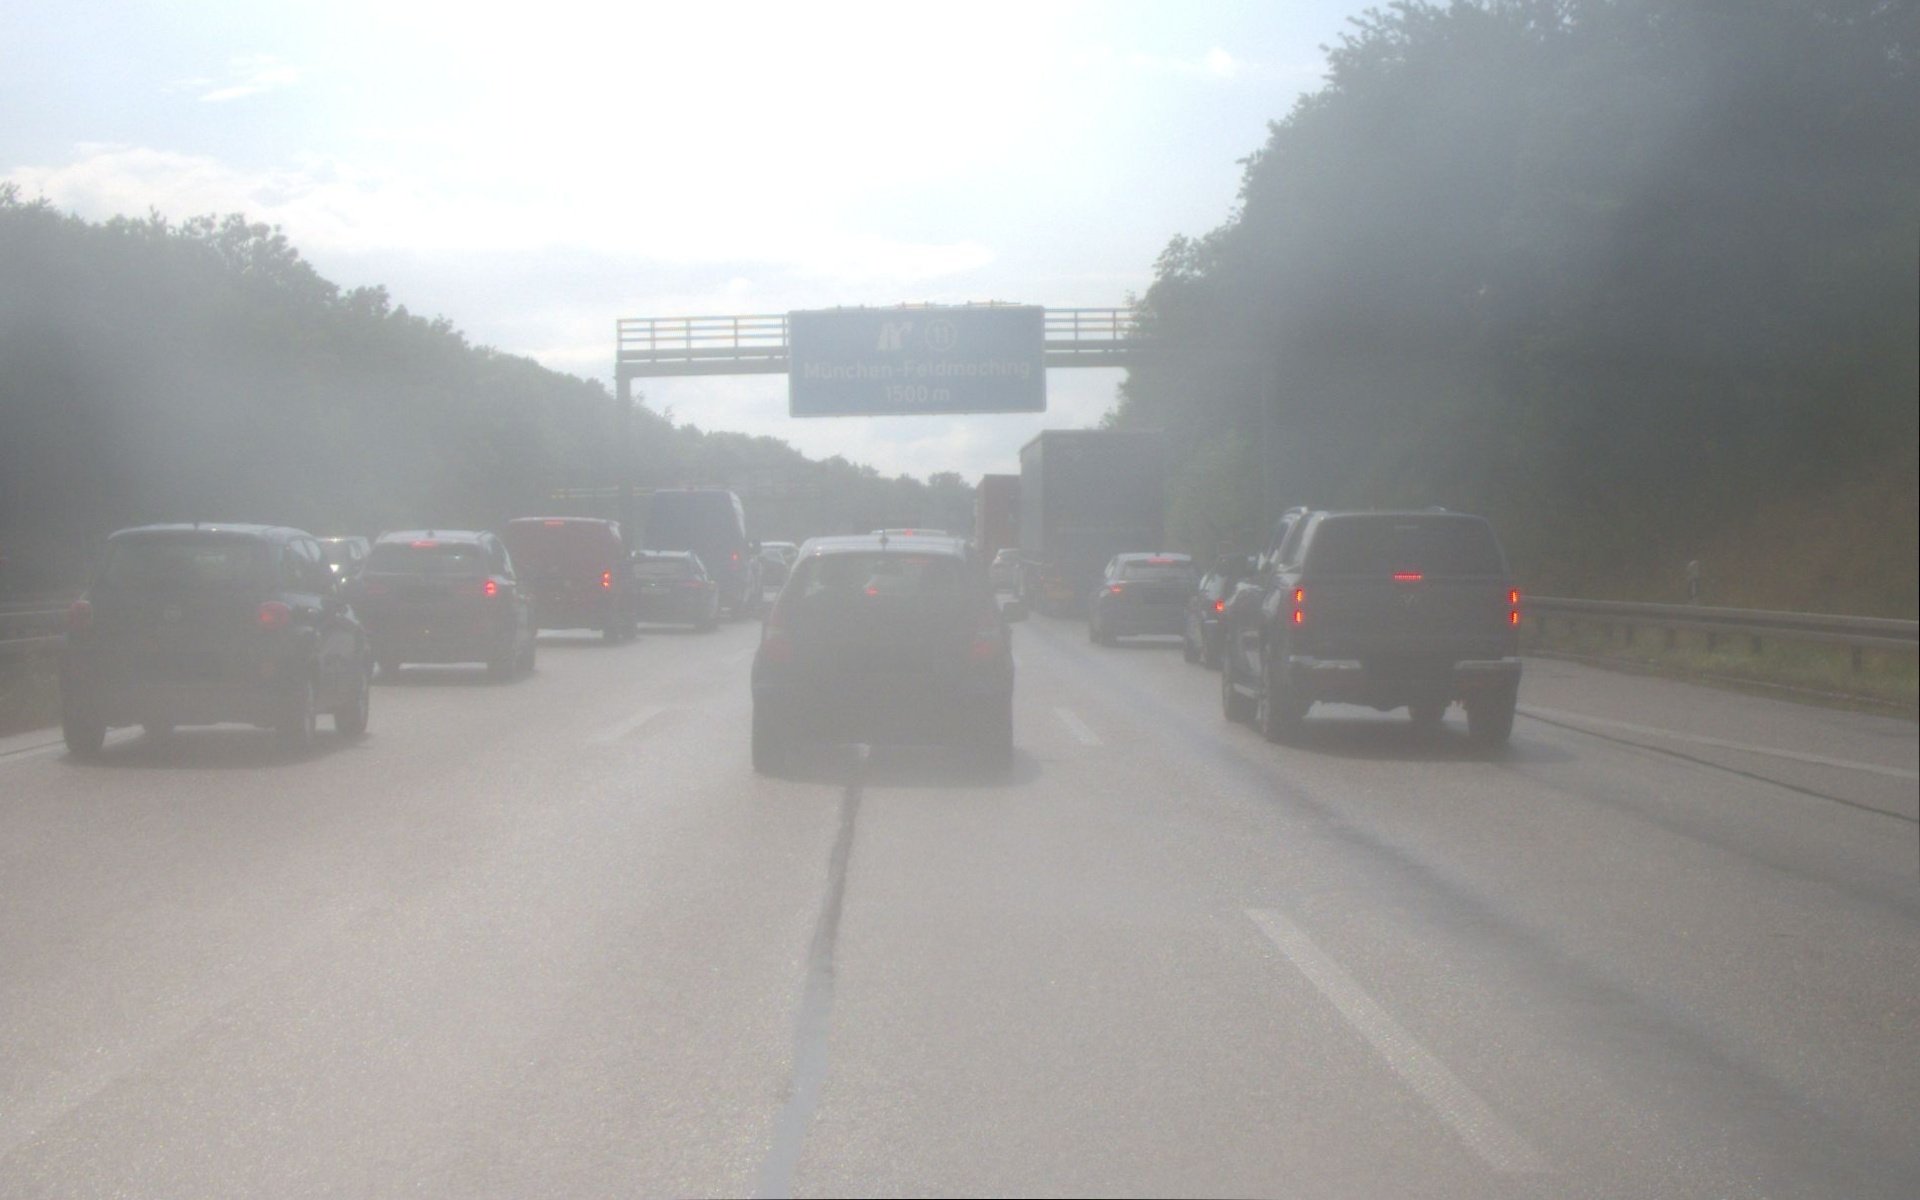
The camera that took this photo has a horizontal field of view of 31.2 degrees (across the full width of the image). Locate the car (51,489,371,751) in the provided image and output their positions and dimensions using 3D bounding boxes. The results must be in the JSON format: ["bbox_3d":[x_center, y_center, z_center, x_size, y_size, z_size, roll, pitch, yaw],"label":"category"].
[{"bbox_3d":[-5.517,0.121,25.750,1.692,1.798,3.976,1,0,-3],"label":"car"}]

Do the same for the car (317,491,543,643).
[{"bbox_3d":[-6.029,-0.375,39.596,1.909,1.631,4.617,0,0,0],"label":"car"}]

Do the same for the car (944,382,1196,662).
[{"bbox_3d":[2.274,-1.696,80.345,4.403,5.810,16.820,1,0,-3],"label":"car"}]

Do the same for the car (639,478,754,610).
[{"bbox_3d":[-5.398,-1.138,71.034,1.993,2.606,5.260,1,0,0],"label":"car"}]

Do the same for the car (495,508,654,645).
[{"bbox_3d":[-6.028,-0.377,54.236,1.978,2.047,4.756,1,0,0],"label":"car"}]

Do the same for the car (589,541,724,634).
[{"bbox_3d":[-5.335,-0.238,61.053,1.993,1.559,4.756,1,0,0],"label":"car"}]

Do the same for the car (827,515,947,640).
[{"bbox_3d":[-1.141,-0.342,51.995,1.692,1.798,3.976,1,0,-3],"label":"car"}]

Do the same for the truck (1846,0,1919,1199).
[{"bbox_3d":[3.441,-0.476,3.308,3.284,3.877,6.397,1,1,-2],"label":"truck"}]

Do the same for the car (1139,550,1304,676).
[{"bbox_3d":[3.259,0.140,43.453,1.590,1.511,3.976,1,0,-3],"label":"car"}]

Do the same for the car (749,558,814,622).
[{"bbox_3d":[-6.062,-0.342,117.101,1.993,2.108,4.889,1,0,0],"label":"car"}]

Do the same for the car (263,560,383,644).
[{"bbox_3d":[-14.755,0.025,79.860,1.953,1.885,5.059,1,0,-2],"label":"car"}]

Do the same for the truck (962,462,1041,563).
[{"bbox_3d":[1.508,-3.198,127.399,2.775,3.619,5.917,1,0,0],"label":"truck"}]

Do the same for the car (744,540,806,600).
[{"bbox_3d":[-6.698,-1.091,124.880,1.993,2.108,4.889,1,0,0],"label":"car"}]

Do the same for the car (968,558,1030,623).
[{"bbox_3d":[1.283,-0.346,115.196,1.993,2.108,4.889,1,0,0],"label":"car"}]

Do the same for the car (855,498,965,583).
[{"bbox_3d":[-0.959,-1.081,63.884,1.864,1.511,3.976,1,0,-3],"label":"car"}]

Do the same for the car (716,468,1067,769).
[{"bbox_3d":[-0.547,0.101,24.855,2.274,1.948,4.822,1,0,-2],"label":"car"}]

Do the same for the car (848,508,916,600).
[{"bbox_3d":[-2.386,-1.414,106.283,1.993,2.737,5.260,1,0,0],"label":"car"}]

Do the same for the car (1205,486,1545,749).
[{"bbox_3d":[3.255,0.104,28.130,1.941,1.912,5.652,1,0,-2],"label":"car"}]

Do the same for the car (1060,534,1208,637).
[{"bbox_3d":[2.638,-0.229,52.909,1.864,1.511,3.976,1,0,-3],"label":"car"}]
